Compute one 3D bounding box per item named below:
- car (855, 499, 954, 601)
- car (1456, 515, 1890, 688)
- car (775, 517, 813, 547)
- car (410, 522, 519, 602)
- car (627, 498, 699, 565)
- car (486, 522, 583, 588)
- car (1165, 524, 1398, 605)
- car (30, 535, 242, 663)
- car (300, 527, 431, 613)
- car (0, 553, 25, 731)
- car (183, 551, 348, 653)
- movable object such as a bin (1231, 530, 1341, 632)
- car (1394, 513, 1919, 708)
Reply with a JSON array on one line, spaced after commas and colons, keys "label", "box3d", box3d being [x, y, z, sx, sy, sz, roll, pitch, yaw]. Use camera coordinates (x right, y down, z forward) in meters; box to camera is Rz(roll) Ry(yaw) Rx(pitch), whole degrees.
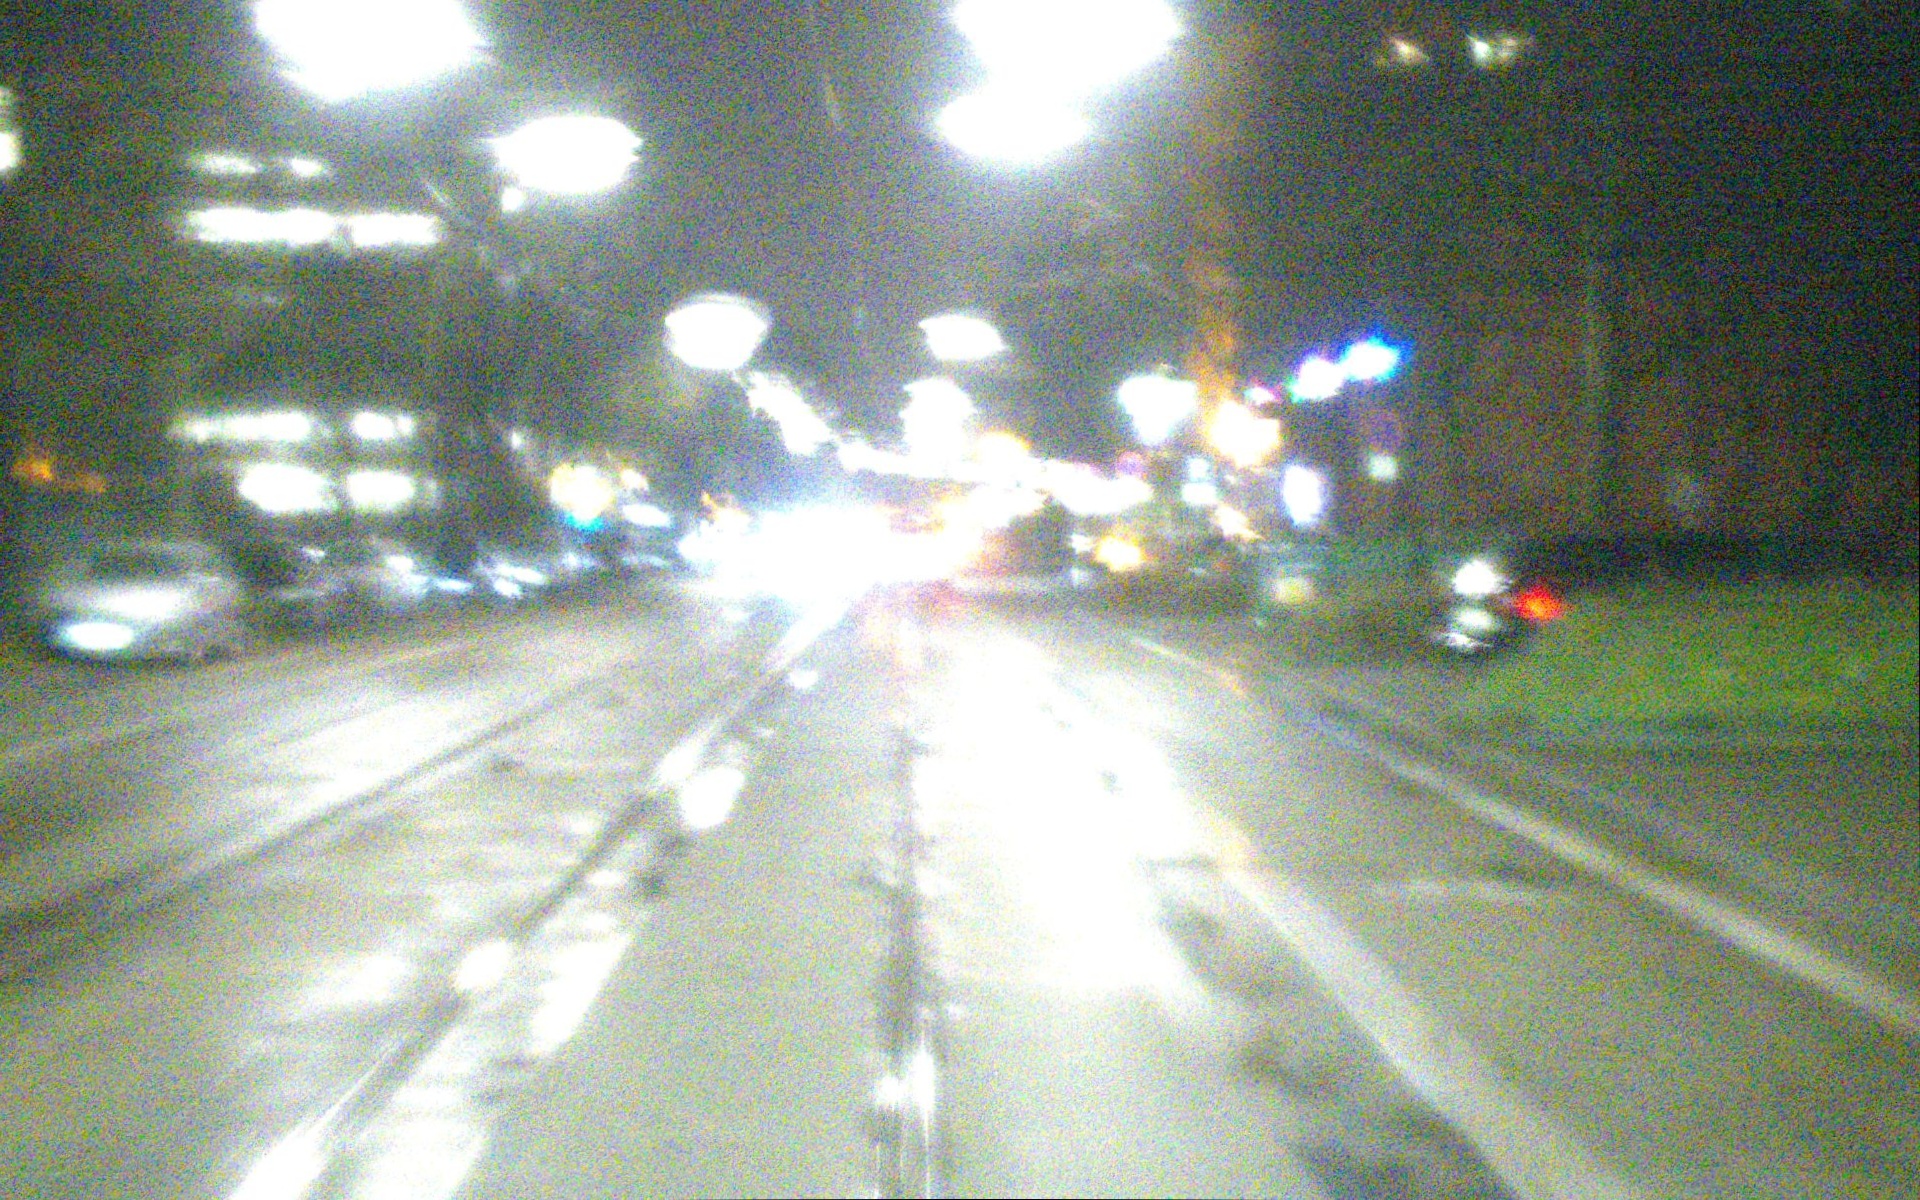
[{"label": "car", "box3d": [-1.343, -1.187, 81.609, 2.244, 2.353, 4.394, 0, 1, -2]}, {"label": "car", "box3d": [6.770, -0.012, 32.696, 3.692, 1.513, 1.659, -2, 1, -19]}, {"label": "car", "box3d": [-8.517, -3.495, 176.922, 1.776, 1.512, 4.051, 0, 1, -1]}, {"label": "car", "box3d": [-10.522, -0.824, 73.274, 1.880, 1.540, 4.400, 3, 1, -4]}, {"label": "car", "box3d": [-11.760, -2.754, 136.469, 2.185, 2.582, 6.392, 0, 2, 1]}, {"label": "car", "box3d": [-10.748, -1.149, 87.106, 1.983, 1.625, 4.517, 0, 1, -1]}, {"label": "car", "box3d": [6.272, -0.687, 67.137, 4.092, 1.532, 1.961, 0, 1, -26]}, {"label": "car", "box3d": [-9.816, -0.056, 41.264, 1.773, 1.435, 4.609, 0, 1, -4]}, {"label": "car", "box3d": [-10.529, -0.556, 61.171, 1.887, 1.458, 4.961, 0, 1, -5]}, {"label": "car", "box3d": [-9.724, 0.358, 29.584, 2.143, 1.614, 4.590, 3, 1, -1]}, {"label": "car", "box3d": [-10.192, -0.006, 50.720, 1.839, 1.418, 4.210, 0, 1, -4]}, {"label": "movable object such as a bin", "box3d": [4.658, -0.279, 49.227, 1.321, 1.403, 1.160, -1, 1, -6]}, {"label": "car", "box3d": [6.117, 0.042, 28.737, 4.584, 1.470, 1.840, -2, 1, -20]}]
